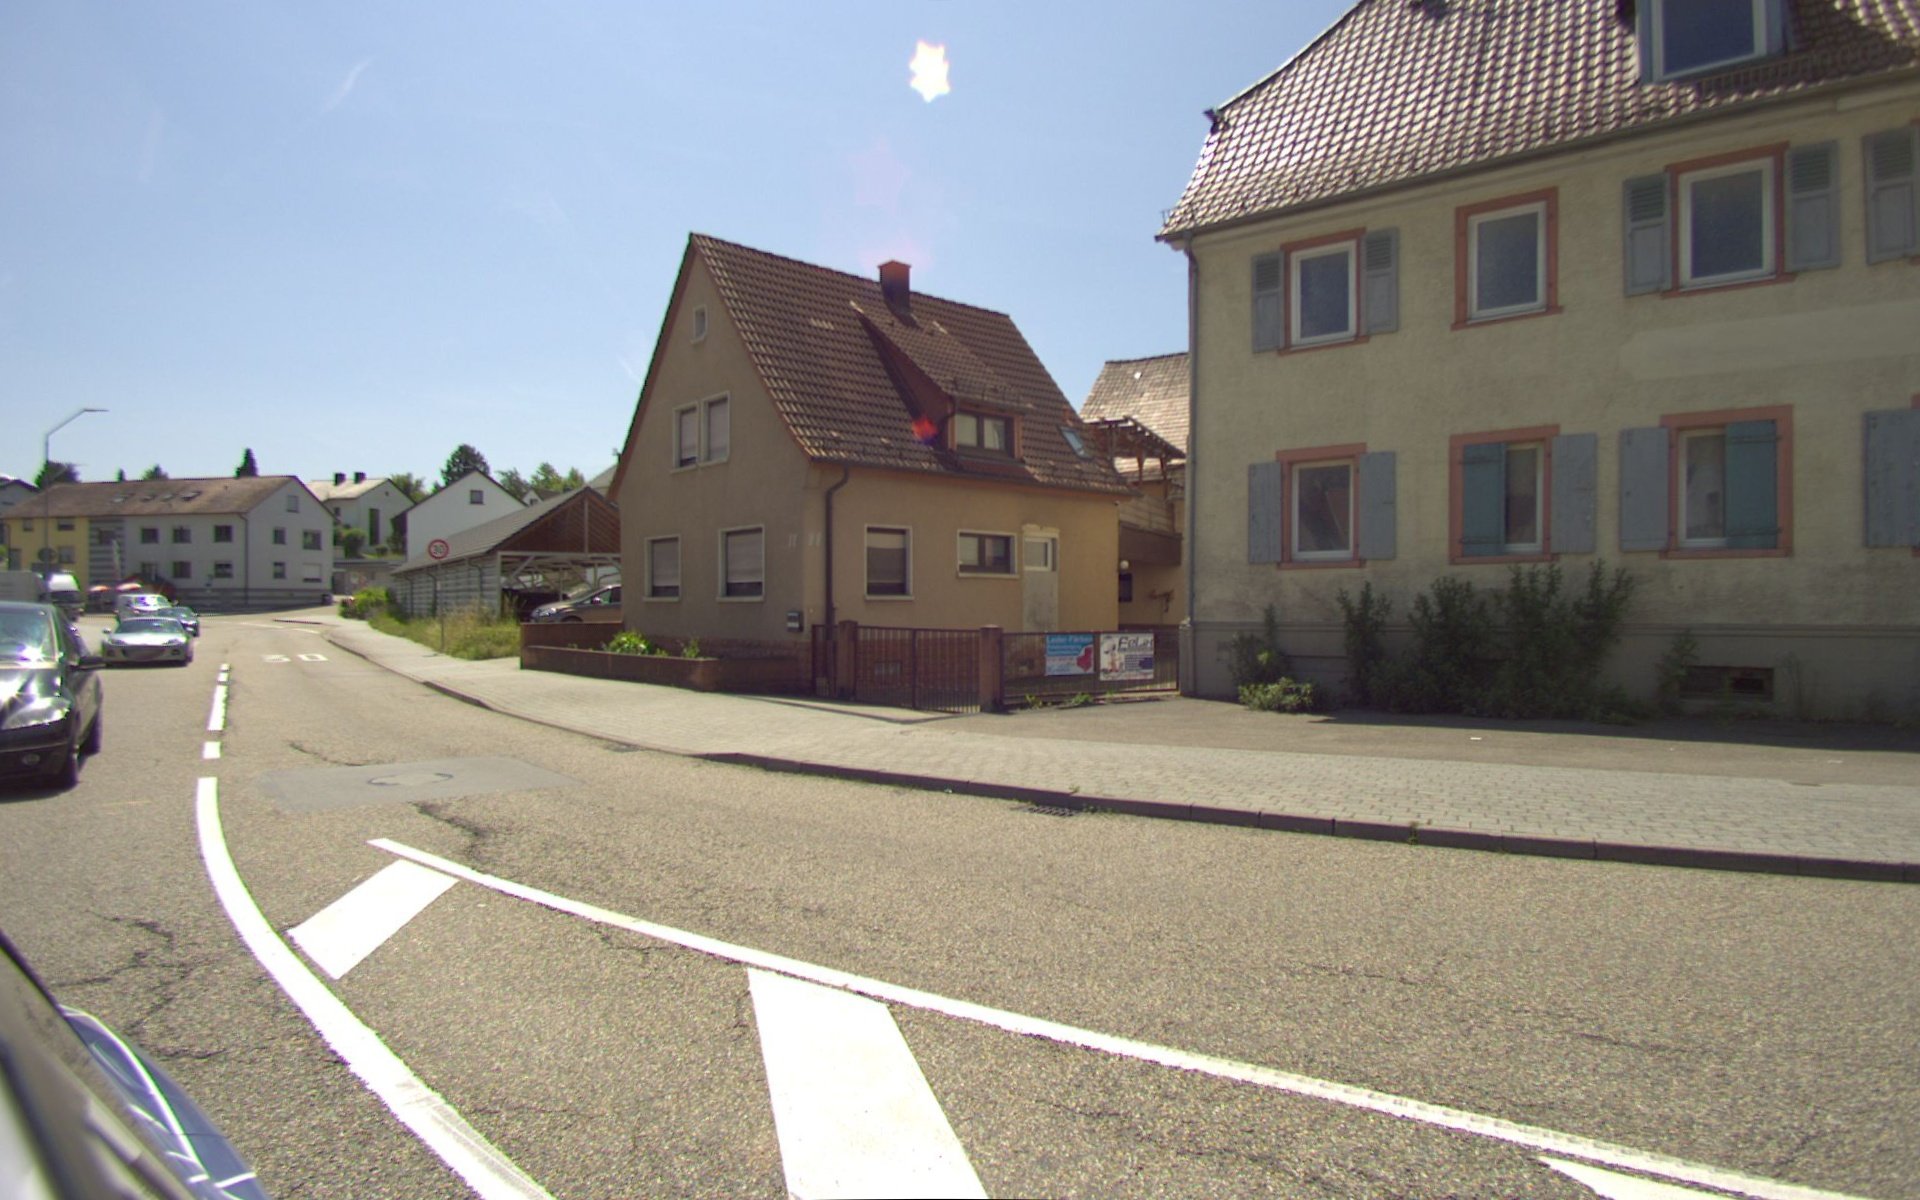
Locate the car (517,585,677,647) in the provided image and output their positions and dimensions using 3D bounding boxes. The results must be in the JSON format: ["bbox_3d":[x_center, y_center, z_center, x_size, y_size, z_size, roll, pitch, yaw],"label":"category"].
[{"bbox_3d":[-10.631,0.429,29.741,4.069,1.650,1.870,-1,1,-35],"label":"car"}]

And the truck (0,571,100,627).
[{"bbox_3d":[-63.091,-0.017,69.089,8.249,3.627,3.182,-1,0,22],"label":"truck"}]

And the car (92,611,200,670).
[{"bbox_3d":[-20.885,0.970,26.111,1.784,1.324,4.011,0,0,-33],"label":"car"}]

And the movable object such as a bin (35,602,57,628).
[{"bbox_3d":[-37.906,0.620,41.963,0.650,1.065,0.559,0,0,38],"label":"movable object such as a bin"}]

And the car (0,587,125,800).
[{"bbox_3d":[-8.891,0.727,9.093,1.736,1.604,4.209,0,0,-34],"label":"car"}]

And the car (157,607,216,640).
[{"bbox_3d":[-35.644,1.034,46.605,1.869,1.386,4.006,-1,1,-41],"label":"car"}]

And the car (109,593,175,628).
[{"bbox_3d":[-47.330,0.609,58.525,5.029,1.923,1.845,-1,1,38],"label":"car"}]
